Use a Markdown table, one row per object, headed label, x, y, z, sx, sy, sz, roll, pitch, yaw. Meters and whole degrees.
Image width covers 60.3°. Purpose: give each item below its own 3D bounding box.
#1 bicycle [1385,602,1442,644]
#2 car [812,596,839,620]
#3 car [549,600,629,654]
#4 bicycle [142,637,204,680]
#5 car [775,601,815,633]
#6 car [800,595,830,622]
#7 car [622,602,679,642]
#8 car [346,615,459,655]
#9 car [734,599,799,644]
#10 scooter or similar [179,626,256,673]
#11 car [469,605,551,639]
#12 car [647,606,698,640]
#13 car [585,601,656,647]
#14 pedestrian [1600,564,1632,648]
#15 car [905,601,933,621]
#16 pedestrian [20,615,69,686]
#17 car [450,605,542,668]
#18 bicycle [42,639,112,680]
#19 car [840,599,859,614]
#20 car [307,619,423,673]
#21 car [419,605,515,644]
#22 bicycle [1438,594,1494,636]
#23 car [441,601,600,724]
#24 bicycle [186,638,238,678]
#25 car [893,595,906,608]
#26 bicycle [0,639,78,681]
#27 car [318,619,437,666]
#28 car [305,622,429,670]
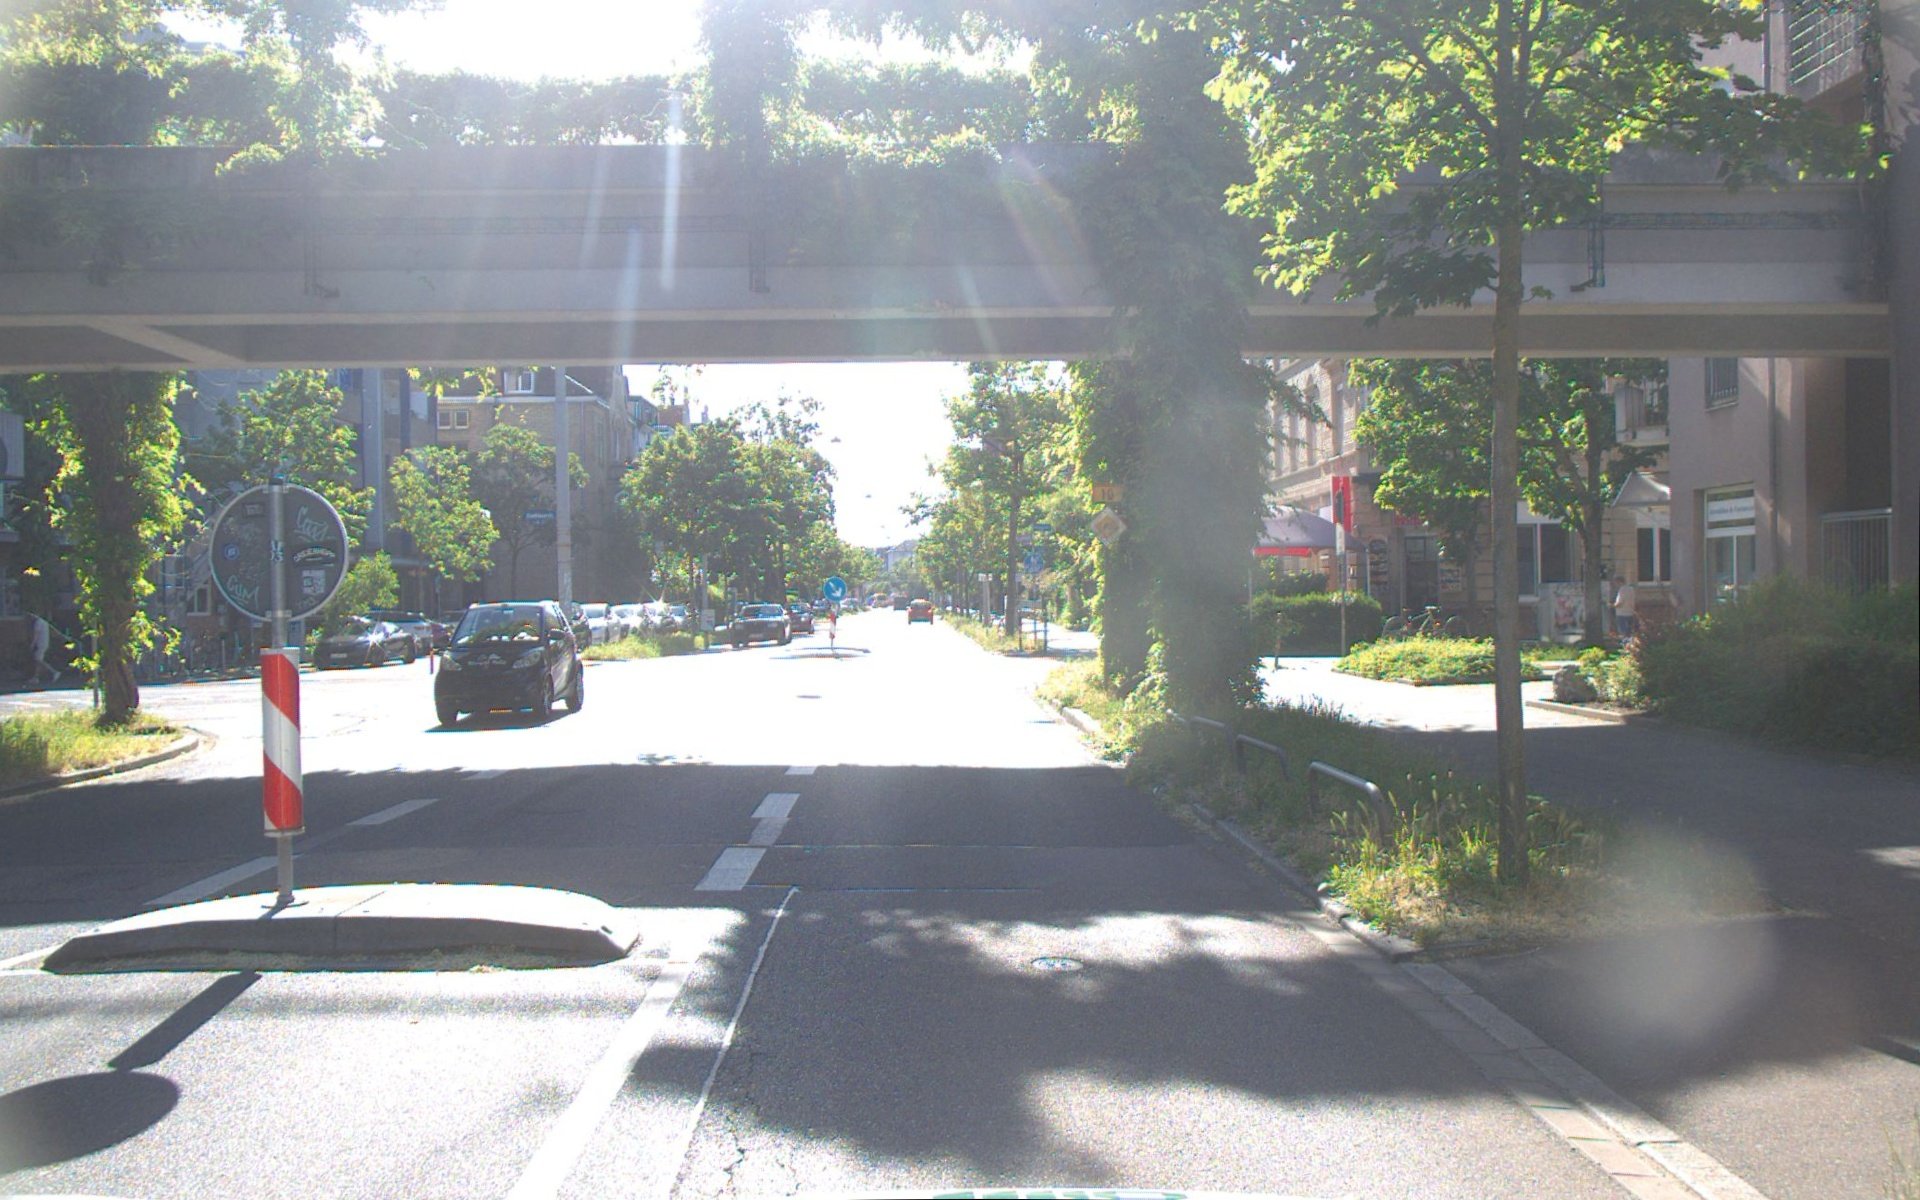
| label | x | y | z | sx | sy | sz | roll | pitch | yaw |
| --- | --- | --- | --- | --- | --- | --- | --- | --- | --- |
| bicycle | 11.022 | 0.553 | 40.166 | 1.286 | 0.991 | 0.392 | -2 | 0 | -13 |
| car | -12.373 | 0.731 | 152.582 | 2.019 | 2.049 | 4.629 | -2 | 0 | 0 |
| car | -12.932 | 0.895 | 57.914 | 1.851 | 1.690 | 4.528 | -3 | 0 | -2 |
| bicycle | -20.897 | 1.539 | 43.957 | 0.405 | 1.049 | 1.803 | 1 | 1 | 15 |
| car | -7.919 | 0.811 | 79.671 | 1.618 | 1.453 | 3.506 | -2 | 0 | -2 |
| car | -11.596 | 0.696 | 132.358 | 1.953 | 2.049 | 4.205 | -2 | 0 | 0 |
| car | -13.132 | 0.920 | 70.349 | 1.716 | 1.580 | 3.999 | -2 | 0 | -2 |
| car | -22.083 | 1.384 | 65.621 | 3.909 | 1.449 | 1.685 | -2 | 0 | -5 |
| car | -6.914 | 0.754 | 59.457 | 1.828 | 1.484 | 4.592 | -2 | 0 | -1 |
| scooter or similar | -21.995 | 1.457 | 49.024 | 1.929 | 1.299 | 0.630 | -2 | 0 | -7 |
| car | -23.929 | 1.165 | 88.065 | 3.909 | 1.658 | 1.685 | -2 | 0 | -5 |
| car | -13.108 | 1.016 | 75.591 | 1.719 | 1.422 | 3.999 | -2 | 0 | -2 |
| car | -13.084 | 0.915 | 63.994 | 1.825 | 1.615 | 4.000 | -3 | 0 | 1 |
| pedestrian | 12.778 | 0.116 | 32.222 | 0.519 | 1.604 | 0.634 | -2 | 0 | 23 |
| car | -2.627 | 0.693 | 107.087 | 1.761 | 1.244 | 3.999 | -1 | 0 | -1 |
| pedestrian | -22.633 | 1.242 | 40.906 | 0.740 | 1.729 | 0.796 | 1 | 0 | -3 |
| car | -12.562 | 0.958 | 44.967 | 1.686 | 1.545 | 3.529 | -2 | 0 | -4 |
| bicycle | -23.126 | 1.560 | 43.332 | 1.591 | 1.018 | 0.412 | 0 | 1 | -25 |
| car | -13.466 | 0.785 | 201.571 | 1.952 | 1.725 | 4.000 | -2 | 0 | 1 |
| car | -18.255 | 1.380 | 50.940 | 1.852 | 1.422 | 4.529 | -2 | 0 | 1 |
| car | -22.638 | 1.103 | 75.997 | 3.909 | 1.658 | 1.685 | -2 | 0 | -5 |
| bicycle | 12.577 | 0.370 | 41.072 | 1.286 | 0.991 | 0.392 | -2 | 0 | -13 |
| car | -6.049 | 0.816 | 23.015 | 1.437 | 1.554 | 2.816 | -2 | 0 | -1 |
| bicycle | -20.798 | 1.605 | 46.019 | 0.405 | 1.018 | 1.803 | 1 | 1 | 8 |
| car | -8.729 | 0.230 | 240.195 | 1.722 | 1.815 | 3.999 | -2 | 0 | -1 |
| bicycle | -23.692 | 1.532 | 42.449 | 1.763 | 1.018 | 0.483 | -1 | 1 | -10 |
| car | -22.153 | 1.606 | 63.040 | 3.909 | 1.635 | 1.840 | -2 | 0 | -5 |
| car | -21.758 | 1.670 | 60.787 | 3.909 | 1.578 | 1.768 | -2 | 0 | -5 |
